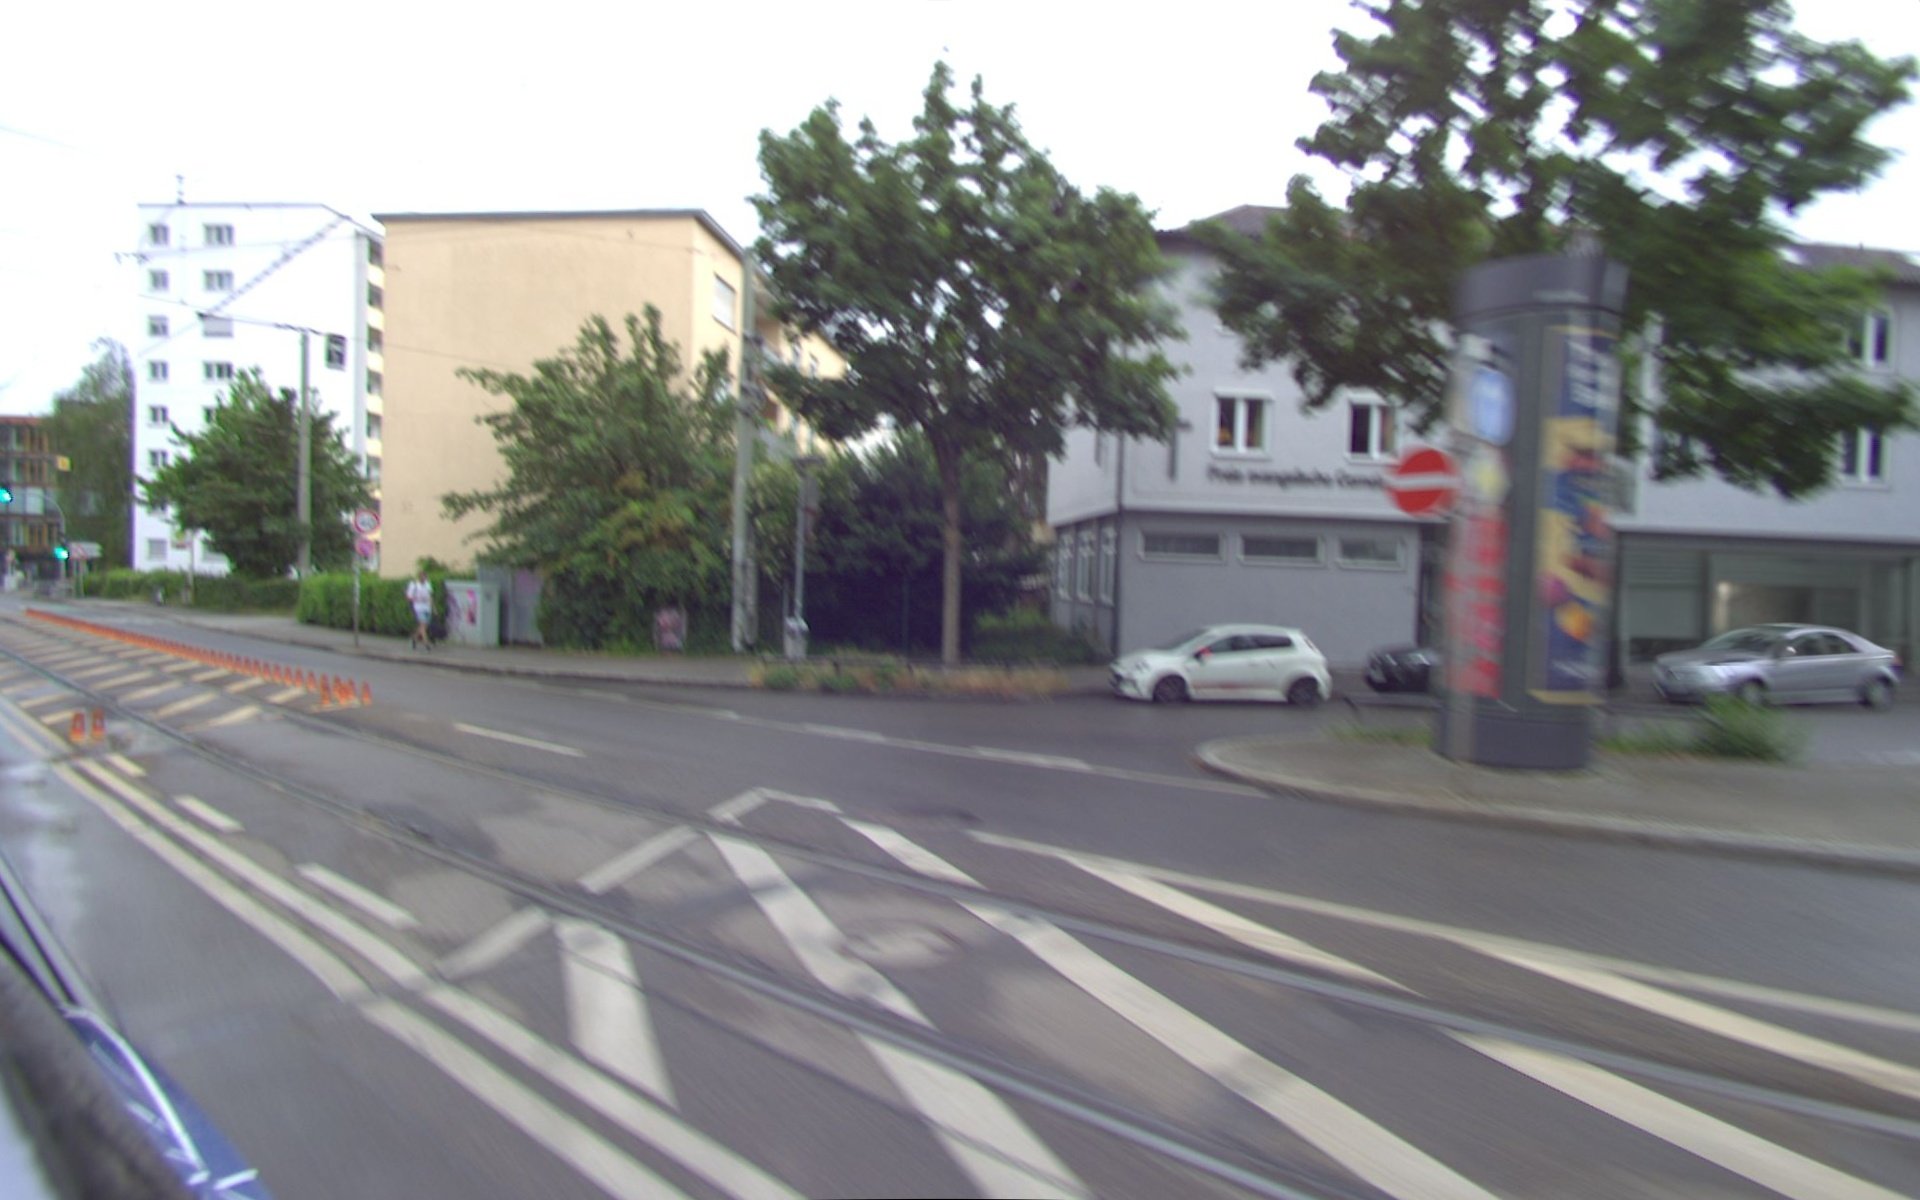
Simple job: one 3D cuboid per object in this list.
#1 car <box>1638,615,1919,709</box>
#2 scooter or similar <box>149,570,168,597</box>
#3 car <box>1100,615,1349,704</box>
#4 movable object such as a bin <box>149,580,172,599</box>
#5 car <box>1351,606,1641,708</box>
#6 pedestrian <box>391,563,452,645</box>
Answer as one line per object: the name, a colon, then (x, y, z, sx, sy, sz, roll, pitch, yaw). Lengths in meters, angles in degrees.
car: (15.849, 1.171, 19.684, 4.109, 1.591, 1.845, 1, 2, -5)
scooter or similar: (-37.287, -0.796, 47.090, 0.565, 1.193, 1.602, -1, 3, -43)
car: (4.901, 1.092, 19.168, 4.099, 1.492, 2.001, 1, 0, -3)
movable object such as a bin: (-38.358, -0.497, 48.576, 0.759, 0.888, 0.680, 3, 3, 36)
car: (10.185, 1.063, 19.426, 4.569, 1.718, 1.845, 1, 2, -5)
pedestrian: (-12.736, 0.070, 23.923, 1.015, 1.859, 0.911, 3, 3, 36)
